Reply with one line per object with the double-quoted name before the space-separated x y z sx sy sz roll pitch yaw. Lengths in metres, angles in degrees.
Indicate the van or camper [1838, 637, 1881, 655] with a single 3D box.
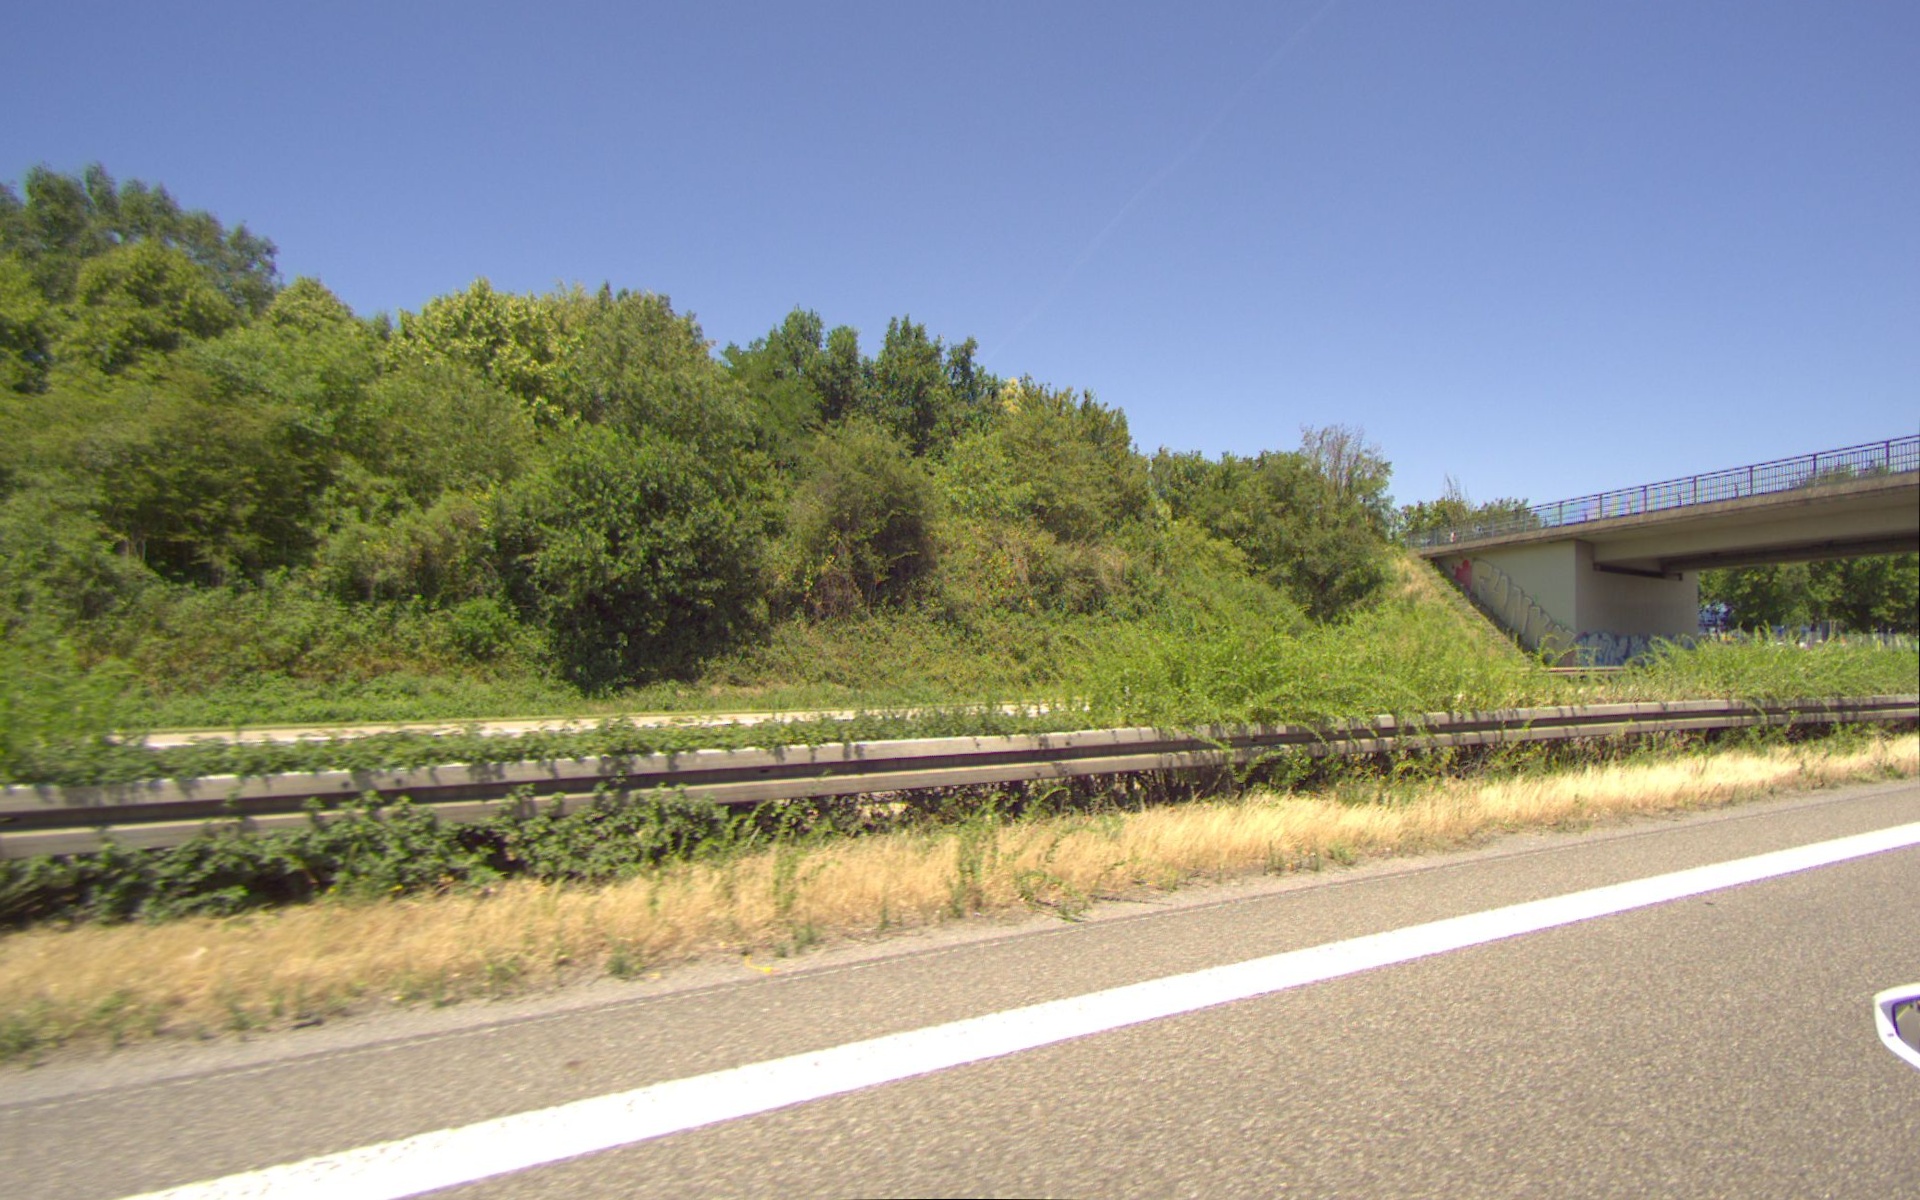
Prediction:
"van or camper" 131.455 6.722 146.767 7.635 2.585 2.346 2 -3 -30
